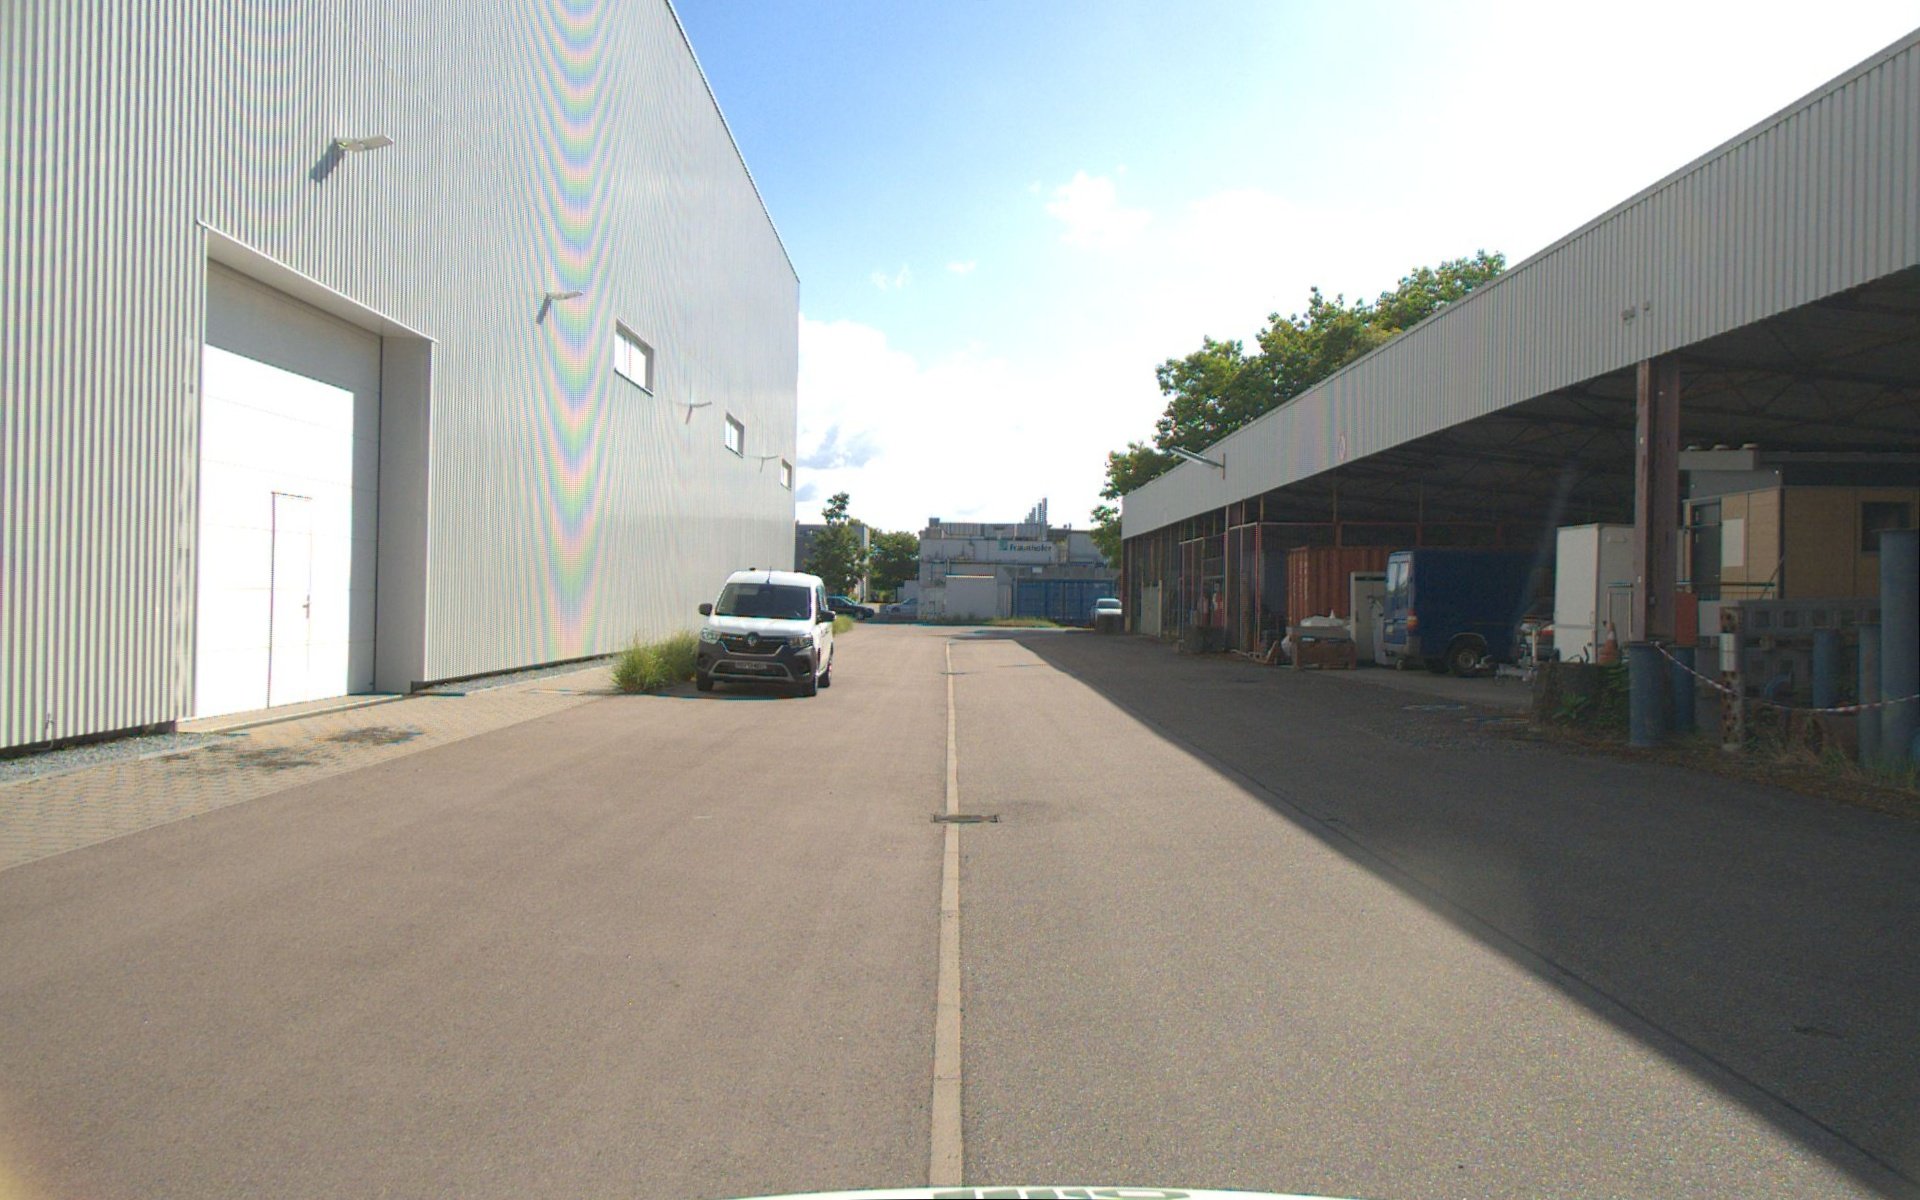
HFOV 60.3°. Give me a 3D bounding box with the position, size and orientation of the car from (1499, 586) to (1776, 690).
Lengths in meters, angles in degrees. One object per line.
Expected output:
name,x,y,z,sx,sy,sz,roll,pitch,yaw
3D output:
car,11.361,0.652,27.903,3.955,1.551,1.684,2,-2,0

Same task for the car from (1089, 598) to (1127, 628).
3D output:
car,8.519,0.713,95.439,1.921,1.592,4.060,2,1,1

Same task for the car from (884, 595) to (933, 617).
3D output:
car,-4.205,0.516,135.595,3.906,1.626,1.847,2,-2,-2

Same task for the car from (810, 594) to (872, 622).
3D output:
car,-7.741,0.555,107.676,3.906,1.626,1.741,2,-2,-2

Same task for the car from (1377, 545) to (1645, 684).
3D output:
car,10.255,0.296,30.989,4.342,2.350,1.915,2,-2,0

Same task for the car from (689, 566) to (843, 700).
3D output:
car,-2.889,0.456,25.516,1.781,1.818,4.405,2,0,0

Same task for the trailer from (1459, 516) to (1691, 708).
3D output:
trailer,8.192,0.168,22.180,2.472,2.441,1.727,1,-1,0

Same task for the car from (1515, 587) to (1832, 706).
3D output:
car,10.481,0.696,24.469,3.955,1.551,1.684,2,-2,0
